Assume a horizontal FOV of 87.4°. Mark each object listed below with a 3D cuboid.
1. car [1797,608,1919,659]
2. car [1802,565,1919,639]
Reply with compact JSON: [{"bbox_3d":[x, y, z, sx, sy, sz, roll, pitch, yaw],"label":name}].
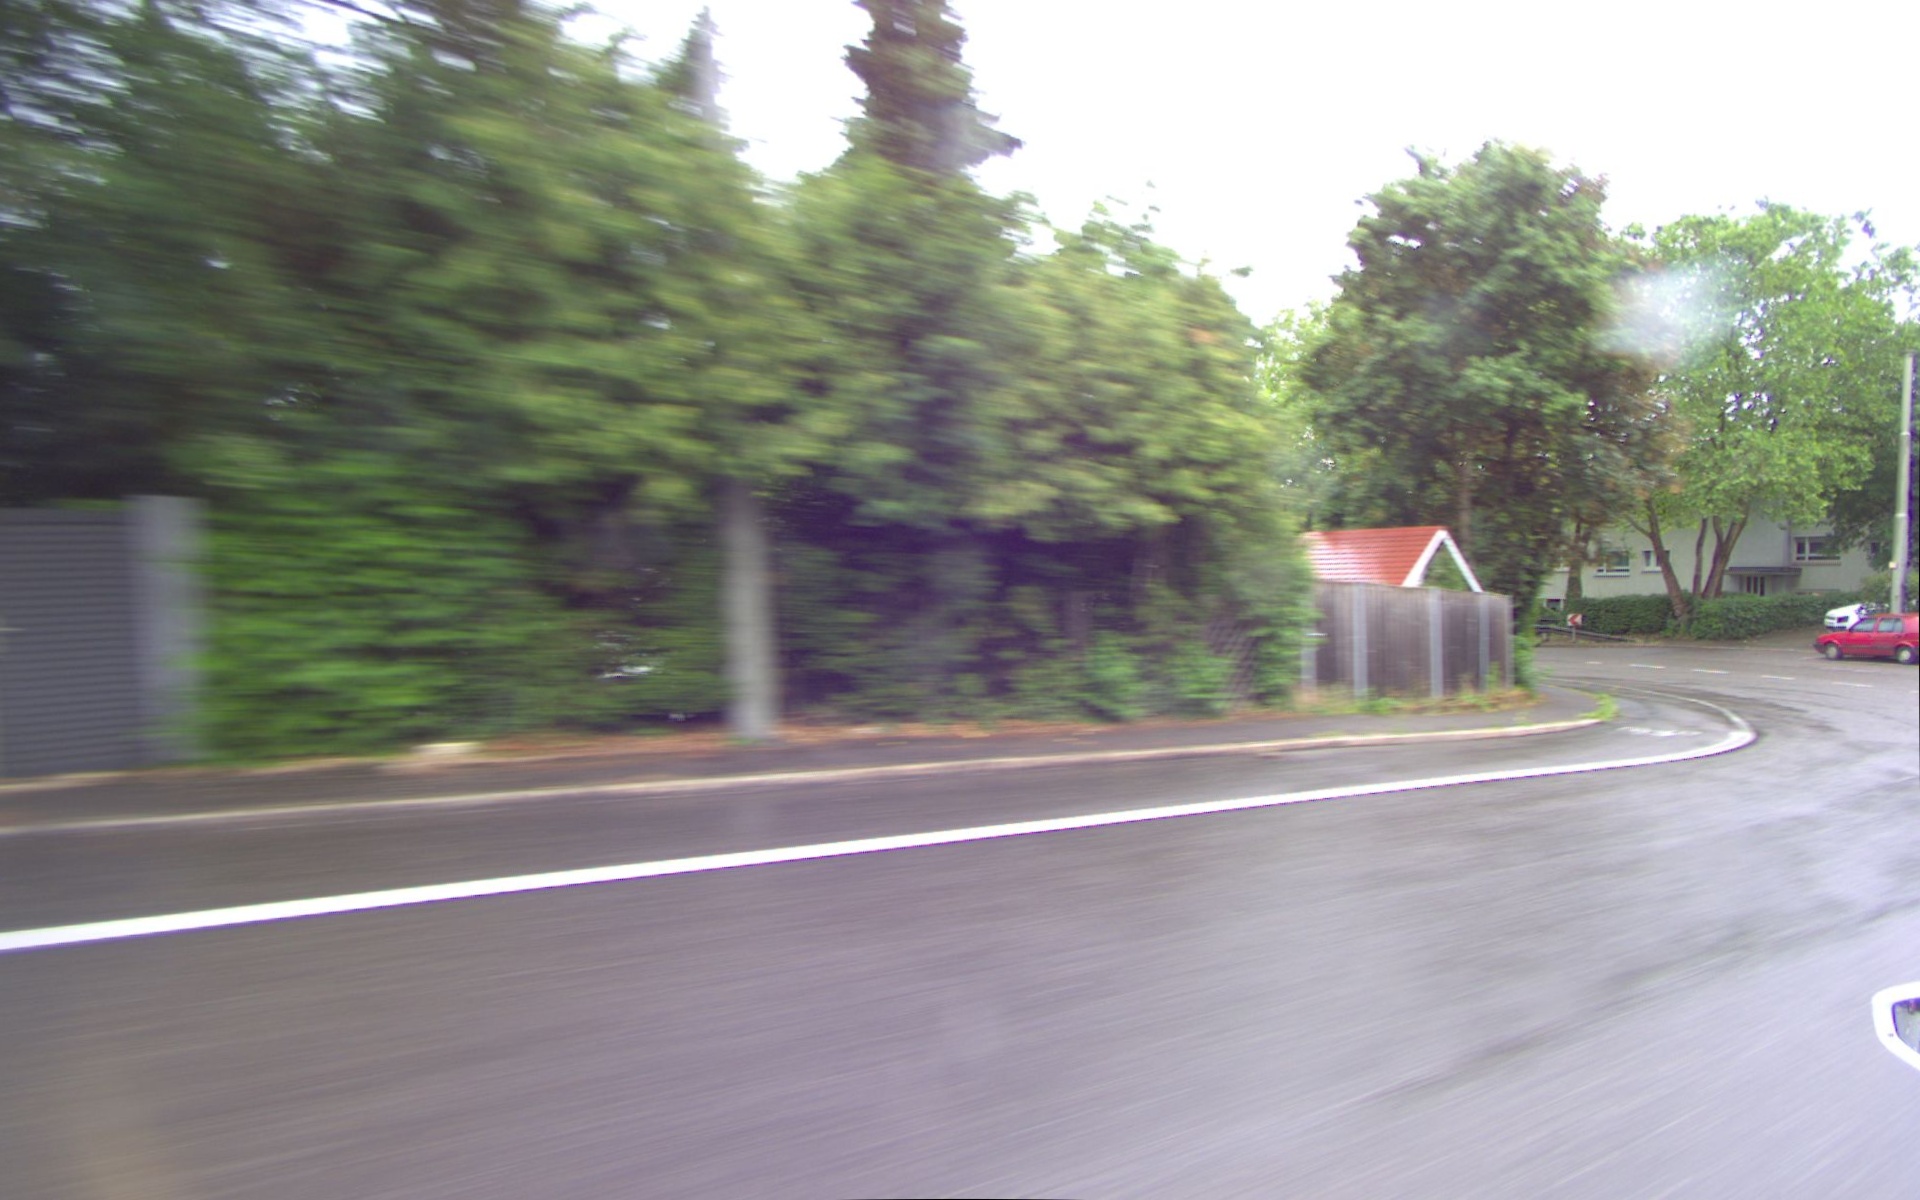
[{"bbox_3d":[27.629,0.983,29.999,1.750,1.385,4.197,-2,-2,1],"label":"car"},{"bbox_3d":[32.235,-0.049,34.646,4.340,1.864,1.996,-13,-5,30],"label":"car"}]
